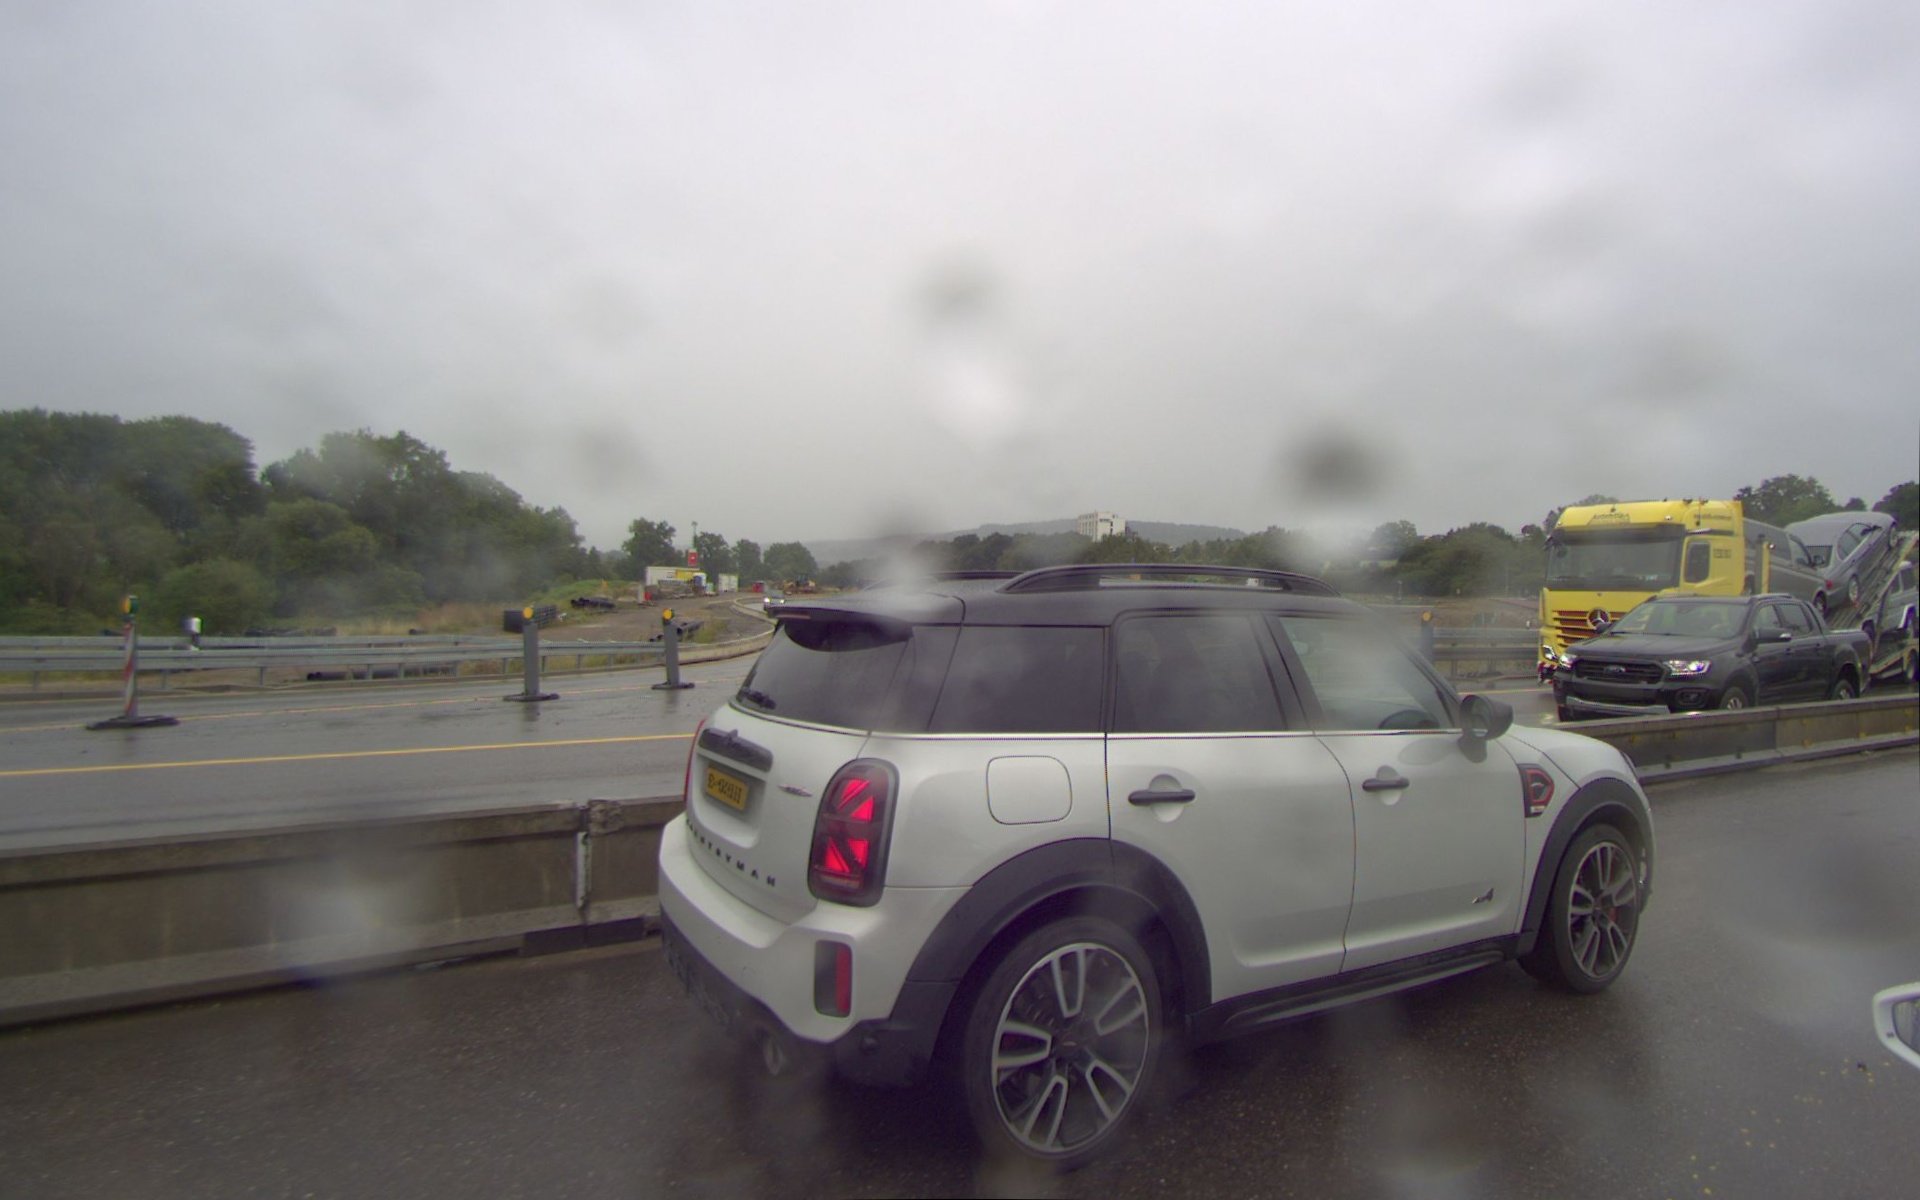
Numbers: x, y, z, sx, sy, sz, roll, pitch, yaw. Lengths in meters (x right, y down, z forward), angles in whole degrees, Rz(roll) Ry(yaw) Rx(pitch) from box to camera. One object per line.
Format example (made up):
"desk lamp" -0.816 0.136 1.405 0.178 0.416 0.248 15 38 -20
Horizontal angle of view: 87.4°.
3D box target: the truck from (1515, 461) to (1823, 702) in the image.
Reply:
"truck" 14.113 -0.277 19.914 6.077 4.116 2.735 1 0 -31

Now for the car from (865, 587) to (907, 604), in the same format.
"car" -8.171 -0.500 111.518 1.820 1.723 5.030 1 0 35

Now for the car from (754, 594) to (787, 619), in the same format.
"car" -14.022 0.462 74.402 1.815 1.723 5.042 1 0 -4

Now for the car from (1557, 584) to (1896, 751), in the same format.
"car" 10.077 0.801 13.087 5.130 1.829 1.778 1 -1 -31

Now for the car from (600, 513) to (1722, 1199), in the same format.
"car" 0.958 0.634 3.981 4.257 1.622 1.807 0 0 -30

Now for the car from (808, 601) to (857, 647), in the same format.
"car" -6.229 1.103 48.578 2.034 2.090 4.834 1 0 -11

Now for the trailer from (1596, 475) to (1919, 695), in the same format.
"trailer" 20.518 -0.164 23.780 15.182 4.096 2.735 1 0 -31
